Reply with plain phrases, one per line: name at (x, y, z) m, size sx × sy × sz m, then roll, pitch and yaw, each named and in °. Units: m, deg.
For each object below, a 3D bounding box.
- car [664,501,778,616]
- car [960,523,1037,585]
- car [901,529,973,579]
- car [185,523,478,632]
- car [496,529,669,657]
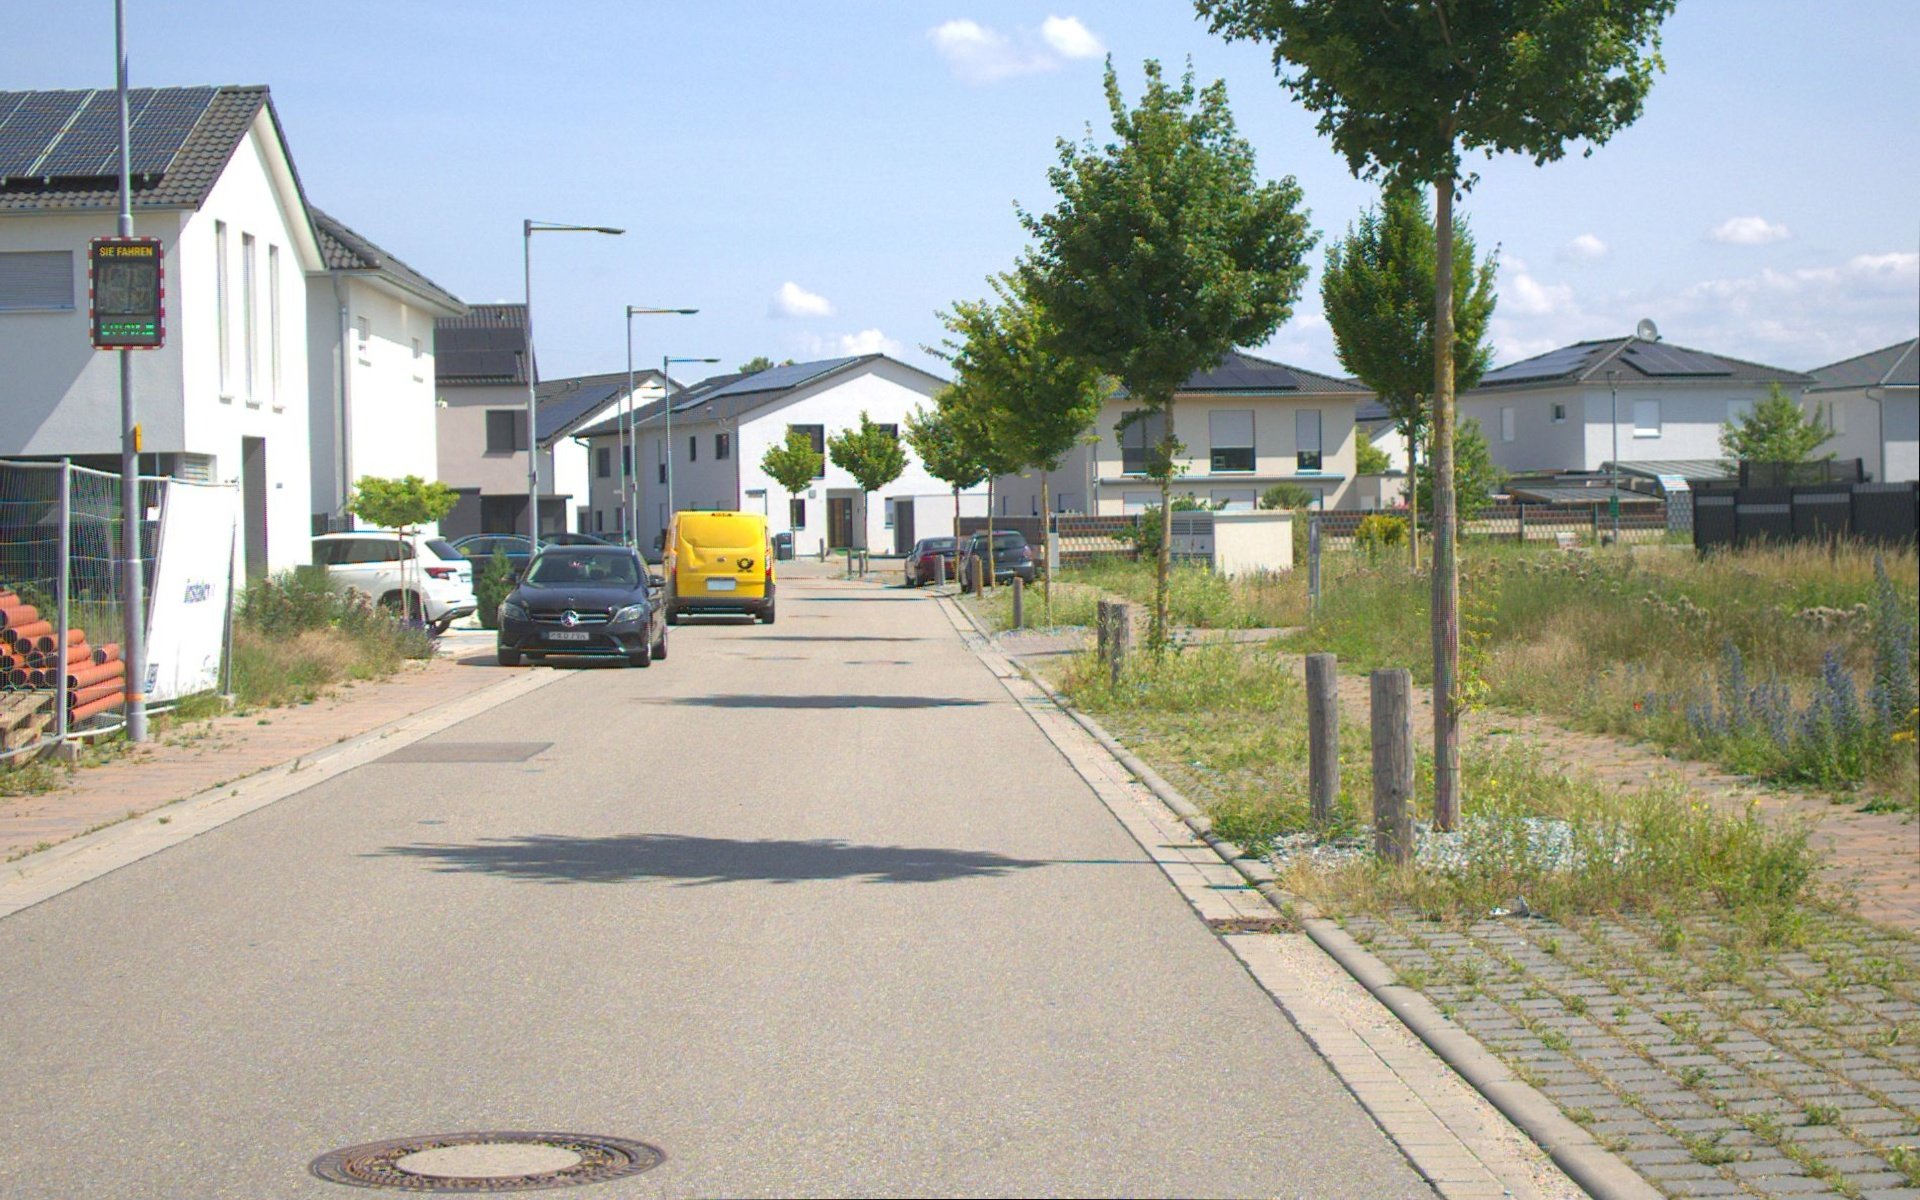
car at (-4.345, -0.740, 62.117) m, size 1.941 × 1.975 × 4.218 m, roll -1°, pitch 0°, yaw -5°
car at (0.897, -1.086, 82.257) m, size 1.639 × 1.398 × 3.811 m, roll -1°, pitch 0°, yaw -2°
car at (-0.695, -1.343, 100.853) m, size 1.627 × 1.318 × 3.834 m, roll -1°, pitch -1°, yaw -8°
car at (-9.551, -0.362, 52.411) m, size 4.069 × 1.576 × 1.784 m, roll 1°, pitch 2°, yaw 5°
car at (-4.572, -0.119, 42.125) m, size 1.745 × 1.400 × 4.160 m, roll 1°, pitch 2°, yaw -2°
